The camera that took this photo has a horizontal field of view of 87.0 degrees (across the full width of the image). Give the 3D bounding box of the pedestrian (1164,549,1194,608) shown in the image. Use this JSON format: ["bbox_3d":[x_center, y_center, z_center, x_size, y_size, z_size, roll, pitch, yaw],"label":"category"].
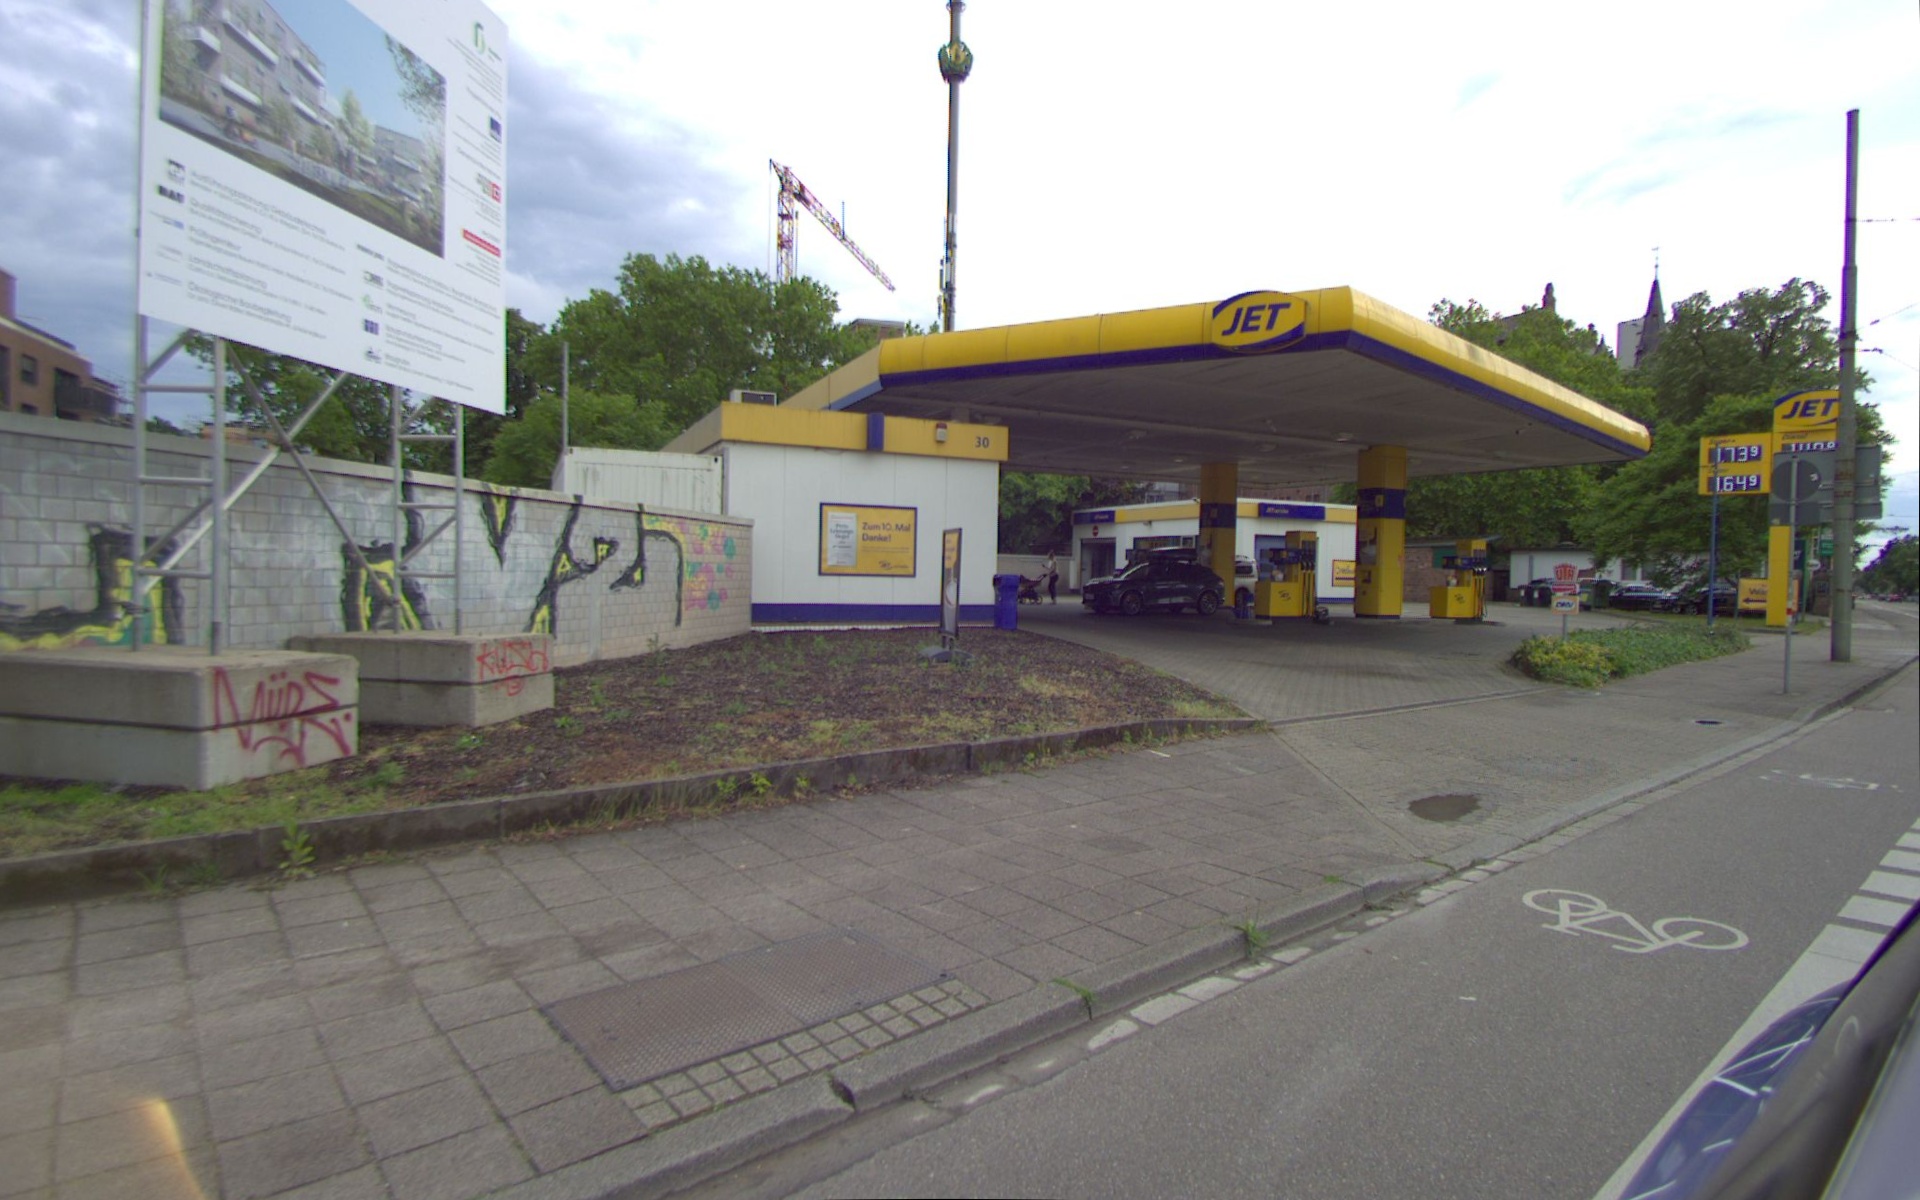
[{"bbox_3d":[6.744,-0.664,31.187,0.614,1.809,0.709,0,1,-20],"label":"pedestrian"}]

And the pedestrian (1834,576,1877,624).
[{"bbox_3d":[35.296,-0.017,39.891,0.858,1.768,0.847,4,4,17],"label":"pedestrian"}]

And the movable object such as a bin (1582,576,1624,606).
[{"bbox_3d":[29.217,-0.434,45.982,1.136,1.336,1.123,0,1,-13],"label":"movable object such as a bin"}]

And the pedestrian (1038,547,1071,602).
[{"bbox_3d":[3.279,-0.891,35.106,0.952,1.842,0.603,4,1,0],"label":"pedestrian"}]

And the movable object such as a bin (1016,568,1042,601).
[{"bbox_3d":[2.393,-0.535,34.944,0.781,1.079,0.603,4,1,0],"label":"movable object such as a bin"}]

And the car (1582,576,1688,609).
[{"bbox_3d":[32.175,-0.382,48.278,3.919,1.536,1.829,0,1,-7],"label":"car"}]

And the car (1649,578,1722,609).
[{"bbox_3d":[32.628,-0.318,45.485,3.934,1.304,1.995,-1,2,-44],"label":"car"}]

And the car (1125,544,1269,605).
[{"bbox_3d":[8.274,-0.892,35.454,4.432,1.865,1.993,2,3,-18],"label":"car"}]

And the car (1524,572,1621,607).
[{"bbox_3d":[30.556,-0.544,50.506,3.942,1.716,1.815,0,1,-11],"label":"car"}]

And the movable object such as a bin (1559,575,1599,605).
[{"bbox_3d":[28.797,-0.488,47.084,1.136,1.375,1.123,0,1,-13],"label":"movable object such as a bin"}]

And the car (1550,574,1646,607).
[{"bbox_3d":[33.512,-0.536,53.233,3.986,1.687,1.969,1,1,43],"label":"car"}]

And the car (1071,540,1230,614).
[{"bbox_3d":[5.496,-0.689,29.252,4.165,2.012,1.829,0,3,-24],"label":"car"}]
